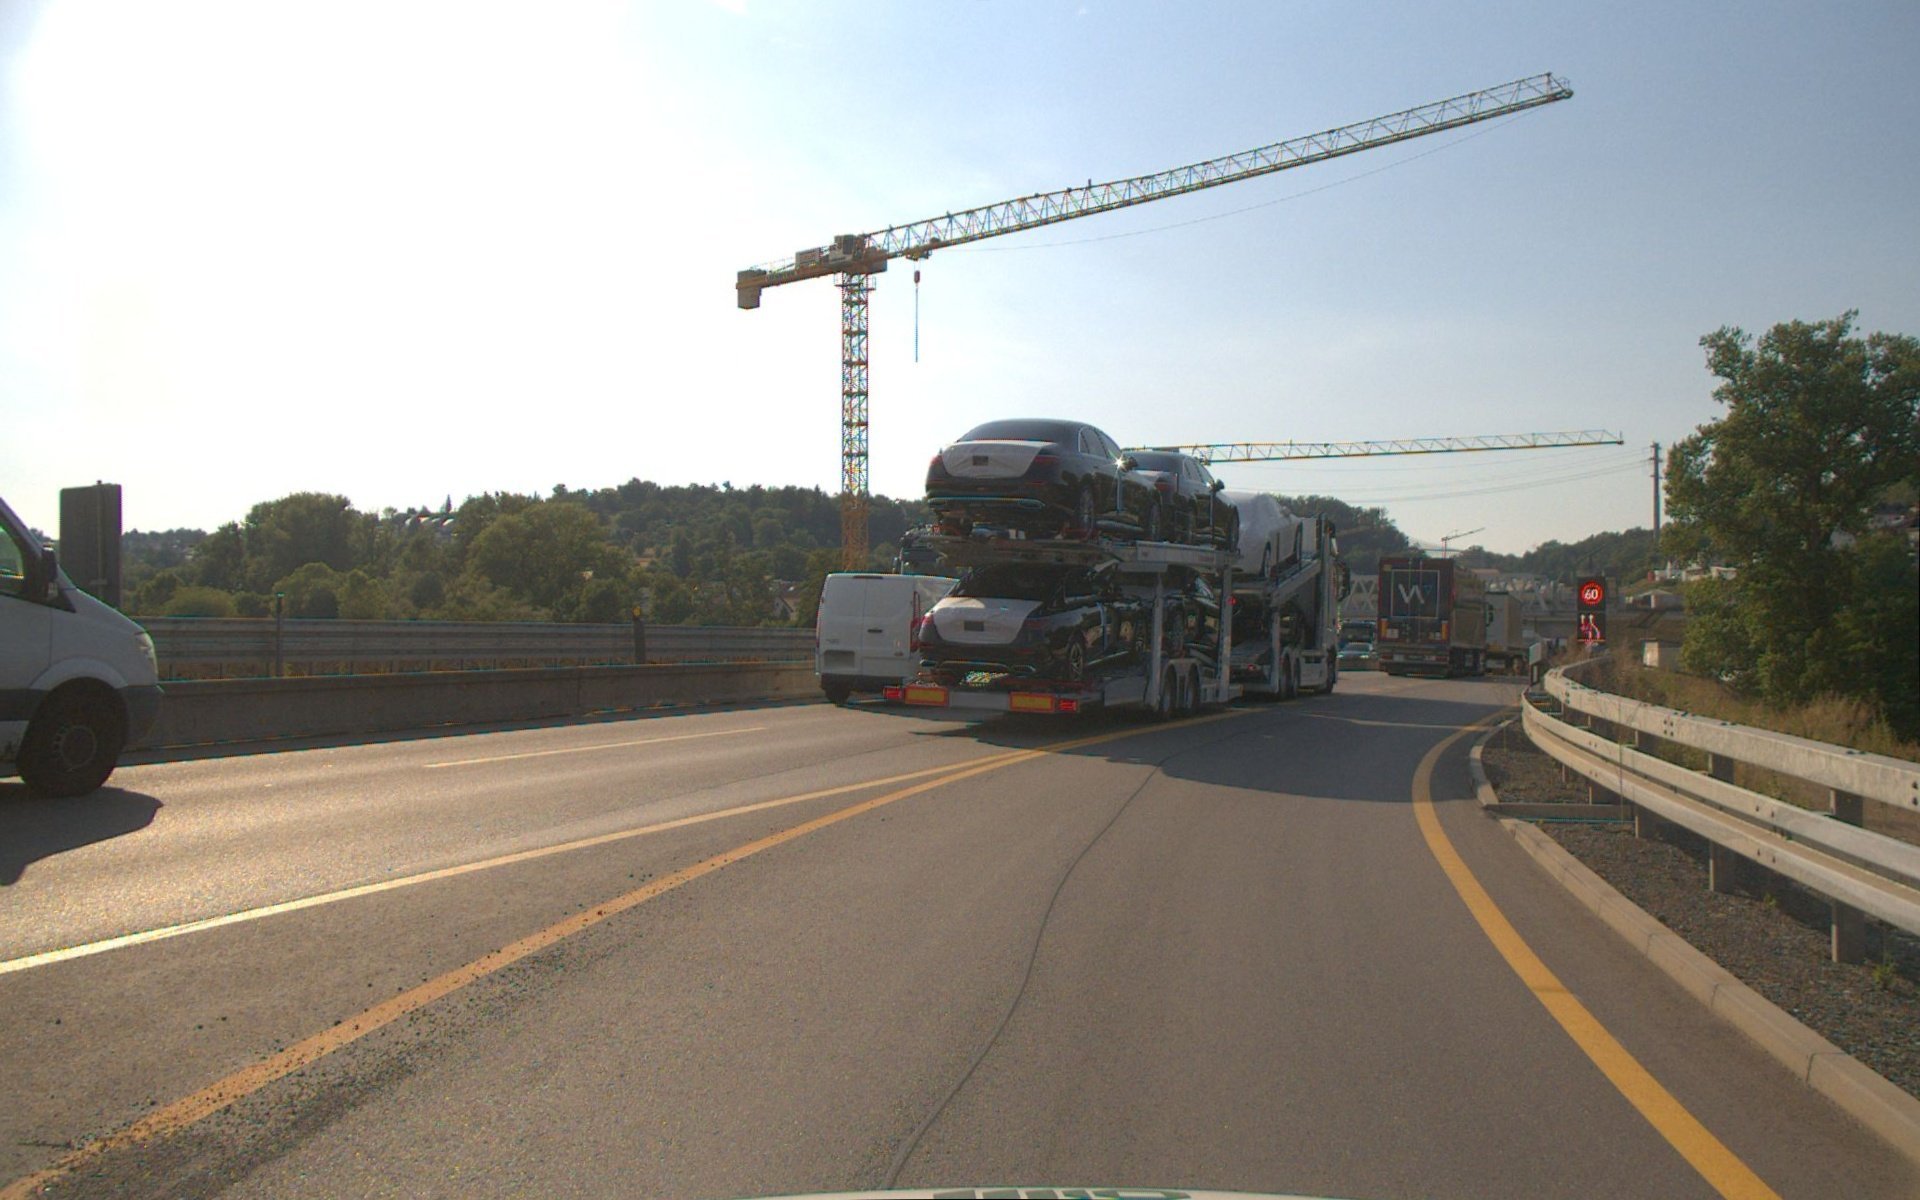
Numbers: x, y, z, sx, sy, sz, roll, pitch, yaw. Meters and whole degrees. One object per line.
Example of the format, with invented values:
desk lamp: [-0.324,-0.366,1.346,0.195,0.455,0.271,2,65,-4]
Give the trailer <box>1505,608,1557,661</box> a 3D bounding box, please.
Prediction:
trailer: [46.054,2.807,133.130,3.315,4.067,14.742,0,-2,22]

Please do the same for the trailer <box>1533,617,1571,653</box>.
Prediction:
trailer: [74.293,4.399,207.218,4.013,4.390,14.249,0,-2,22]

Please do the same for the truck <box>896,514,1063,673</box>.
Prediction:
truck: [0.666,-0.077,46.633,2.574,4.138,6.128,-1,-2,22]

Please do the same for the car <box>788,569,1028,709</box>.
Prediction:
car: [-0.720,0.608,27.074,1.987,2.015,4.977,2,0,23]

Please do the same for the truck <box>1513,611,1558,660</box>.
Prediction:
truck: [48.688,2.998,139.743,3.321,4.067,6.623,0,-2,22]

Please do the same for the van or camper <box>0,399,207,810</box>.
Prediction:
van or camper: [-7.596,-0.011,9.911,1.952,2.666,5.903,1,-1,21]

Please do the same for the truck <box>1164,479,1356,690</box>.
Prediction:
truck: [6.577,-0.220,35.450,2.790,4.067,6.623,0,-2,22]

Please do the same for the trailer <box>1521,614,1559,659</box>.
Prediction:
trailer: [59.134,3.747,168.499,3.040,4.390,14.249,0,-2,22]

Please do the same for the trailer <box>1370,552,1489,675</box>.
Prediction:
trailer: [17.530,0.616,61.194,2.899,4.164,10.789,-1,-2,23]

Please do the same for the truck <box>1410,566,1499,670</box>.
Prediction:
truck: [20.450,0.797,68.180,2.826,4.067,6.621,0,-2,23]

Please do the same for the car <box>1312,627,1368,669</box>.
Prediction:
car: [15.867,2.014,68.906,1.792,1.683,4.000,-1,-2,20]

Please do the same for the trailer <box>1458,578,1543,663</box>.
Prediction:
trailer: [28.518,1.187,86.787,3.315,4.067,14.742,0,-2,22]

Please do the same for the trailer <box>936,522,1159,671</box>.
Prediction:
trailer: [3.211,0.103,52.994,2.574,4.138,14.075,-1,-2,22]

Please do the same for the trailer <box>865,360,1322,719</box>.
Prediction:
trailer: [3.083,-0.482,26.522,2.798,4.067,15.743,0,-2,22]
